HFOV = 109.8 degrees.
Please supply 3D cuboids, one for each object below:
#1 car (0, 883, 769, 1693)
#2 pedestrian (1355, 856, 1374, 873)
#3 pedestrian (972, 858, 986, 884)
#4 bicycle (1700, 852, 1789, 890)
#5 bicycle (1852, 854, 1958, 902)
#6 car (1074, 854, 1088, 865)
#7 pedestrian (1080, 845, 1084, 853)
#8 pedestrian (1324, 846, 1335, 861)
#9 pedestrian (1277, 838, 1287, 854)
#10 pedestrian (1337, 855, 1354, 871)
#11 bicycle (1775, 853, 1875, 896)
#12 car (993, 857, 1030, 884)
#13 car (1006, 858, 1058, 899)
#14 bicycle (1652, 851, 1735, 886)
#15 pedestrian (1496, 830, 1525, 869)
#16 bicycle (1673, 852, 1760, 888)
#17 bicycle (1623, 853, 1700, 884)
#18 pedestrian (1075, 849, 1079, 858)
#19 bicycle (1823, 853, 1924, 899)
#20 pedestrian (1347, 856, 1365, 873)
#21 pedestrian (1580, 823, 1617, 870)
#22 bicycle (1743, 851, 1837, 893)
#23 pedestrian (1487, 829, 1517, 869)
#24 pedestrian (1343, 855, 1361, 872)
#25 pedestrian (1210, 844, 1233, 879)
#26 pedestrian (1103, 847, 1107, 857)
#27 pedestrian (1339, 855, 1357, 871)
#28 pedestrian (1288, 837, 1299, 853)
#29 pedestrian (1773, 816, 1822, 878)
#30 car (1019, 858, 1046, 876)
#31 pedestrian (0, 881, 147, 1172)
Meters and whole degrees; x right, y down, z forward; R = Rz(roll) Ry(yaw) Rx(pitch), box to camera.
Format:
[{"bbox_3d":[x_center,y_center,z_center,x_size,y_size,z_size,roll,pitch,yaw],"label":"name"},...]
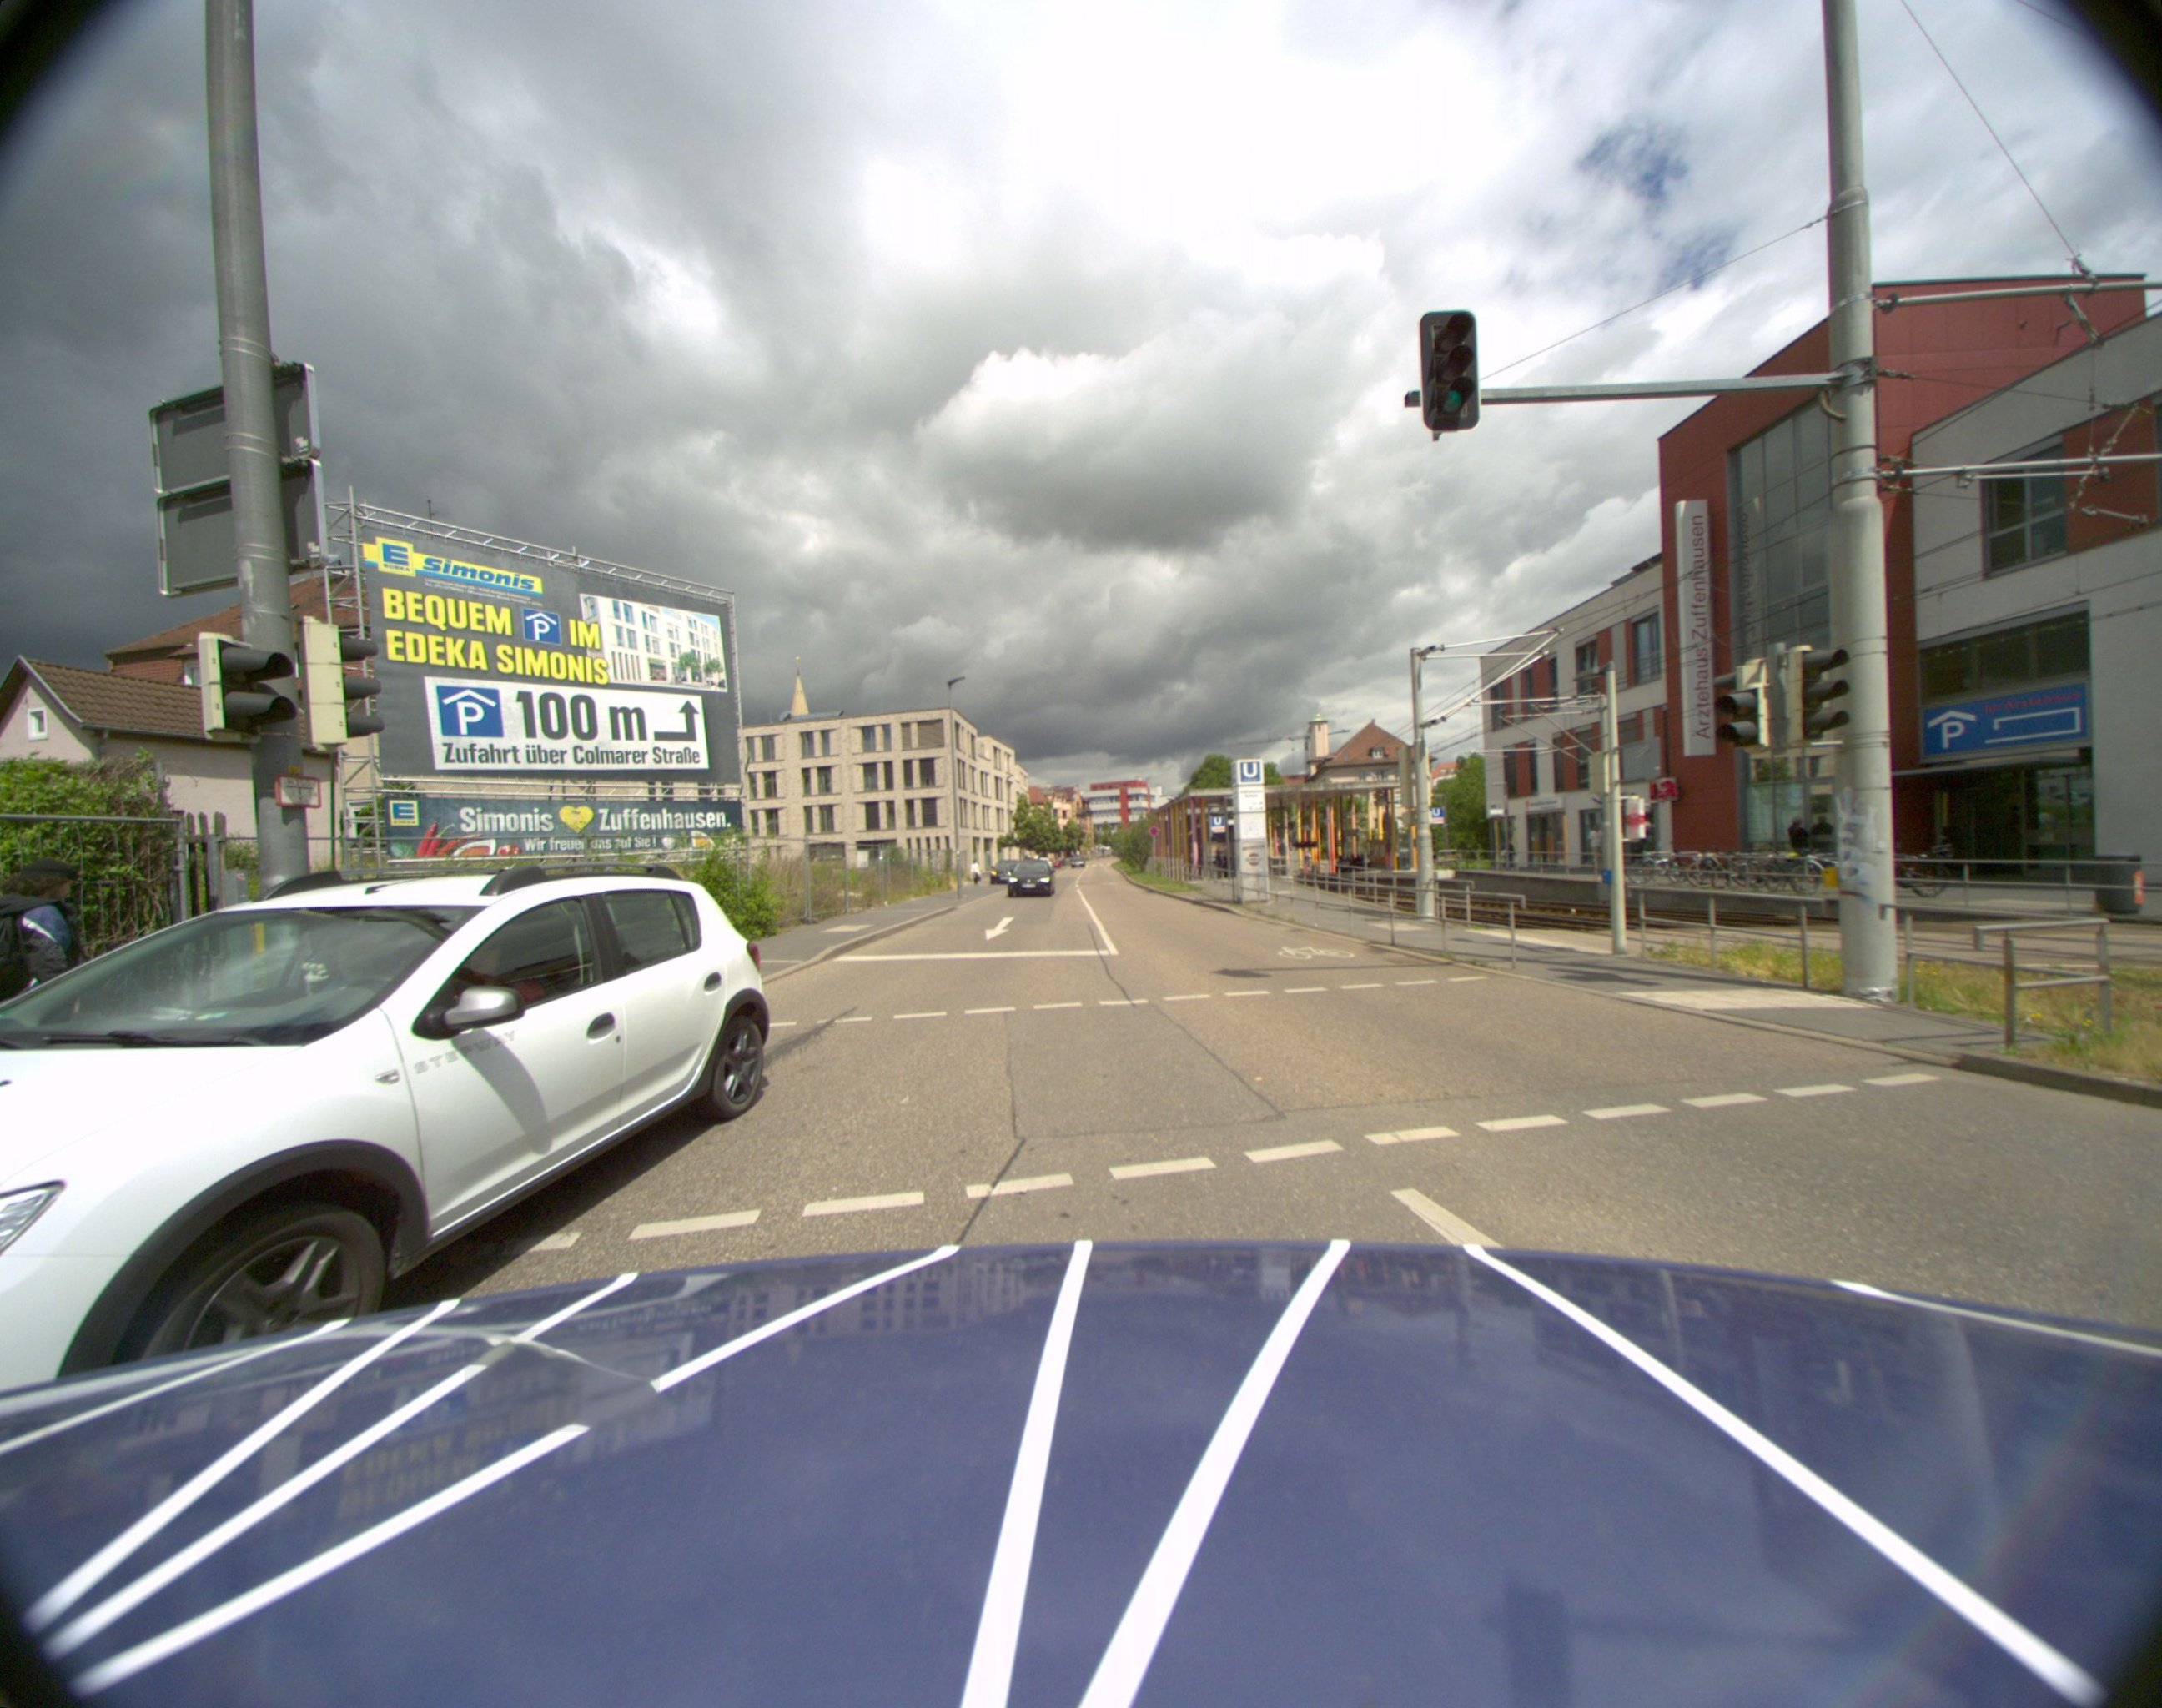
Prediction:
[{"bbox_3d":[-3.021,0.982,3.082,1.718,1.541,3.794,-1,0,4],"label":"car"},{"bbox_3d":[19.264,0.713,51.680,0.943,1.128,0.886,-2,0,2],"label":"pedestrian"},{"bbox_3d":[-6.010,0.998,44.638,0.673,1.503,0.782,-2,0,1],"label":"pedestrian"},{"bbox_3d":[17.546,0.439,20.118,1.861,0.934,0.454,-2,1,5],"label":"bicycle"},{"bbox_3d":[17.721,0.512,16.362,1.739,0.947,0.428,-2,1,3],"label":"bicycle"},{"bbox_3d":[0.007,0.726,97.807,1.677,1.299,3.794,-1,1,3],"label":"car"},{"bbox_3d":[0.123,-0.908,138.062,0.673,1.503,0.783,-2,0,3],"label":"pedestrian"},{"bbox_3d":[25.022,-0.073,76.552,0.744,1.442,0.902,-2,0,-4],"label":"pedestrian"},{"bbox_3d":[25.664,-1.006,96.983,1.127,2.002,1.459,-2,0,13],"label":"pedestrian"},{"bbox_3d":[19.296,0.650,55.386,0.943,1.128,0.886,-2,0,2],"label":"pedestrian"},{"bbox_3d":[17.643,0.479,18.035,1.862,0.930,0.454,-2,1,3],"label":"bicycle"},{"bbox_3d":[-4.159,0.972,46.110,1.677,1.415,3.794,-1,1,3],"label":"car"},{"bbox_3d":[-1.932,0.948,31.001,1.677,1.425,3.794,-2,1,3],"label":"car"},{"bbox_3d":[17.589,0.418,21.848,1.861,0.927,0.455,-2,1,9],"label":"bicycle"},{"bbox_3d":[21.639,-0.239,38.299,0.864,1.957,1.105,-1,2,-1],"label":"pedestrian"},{"bbox_3d":[17.564,0.432,21.019,1.861,0.917,0.455,-2,1,8],"label":"bicycle"},{"bbox_3d":[17.530,0.432,22.976,1.861,0.876,0.455,-2,1,9],"label":"bicycle"},{"bbox_3d":[-0.782,-0.100,138.183,0.673,1.503,0.783,-2,0,3],"label":"pedestrian"},{"bbox_3d":[17.709,0.498,16.995,1.739,0.952,0.428,-2,1,3],"label":"bicycle"},{"bbox_3d":[19.069,0.699,52.636,0.943,1.128,0.886,-2,0,2],"label":"pedestrian"},{"bbox_3d":[22.021,-0.331,32.346,0.864,1.957,1.106,-1,2,3],"label":"pedestrian"},{"bbox_3d":[17.680,0.448,18.967,1.862,0.957,0.454,-2,1,3],"label":"bicycle"},{"bbox_3d":[21.229,-0.252,38.317,0.864,1.957,1.105,-1,2,-1],"label":"pedestrian"},{"bbox_3d":[19.084,0.682,53.594,0.943,1.128,0.886,-2,0,2],"label":"pedestrian"},{"bbox_3d":[7.700,0.409,41.640,1.105,1.903,0.864,-1,2,2],"label":"pedestrian"},{"bbox_3d":[4.760,-0.436,150.507,0.800,2.002,0.810,-1,0,9],"label":"pedestrian"},{"bbox_3d":[19.181,0.662,54.584,0.943,1.128,0.886,-2,0,2],"label":"pedestrian"},{"bbox_3d":[26.762,-1.120,95.676,1.127,2.002,1.179,-2,0,6],"label":"pedestrian"},{"bbox_3d":[22.008,-0.230,23.336,0.881,1.835,0.862,-4,3,-27],"label":"pedestrian"},{"bbox_3d":[-3.804,1.000,59.954,1.677,1.367,3.795,-2,0,3],"label":"car"},{"bbox_3d":[-6.451,0.990,4.569,0.765,1.633,0.778,-1,0,12],"label":"pedestrian"}]
